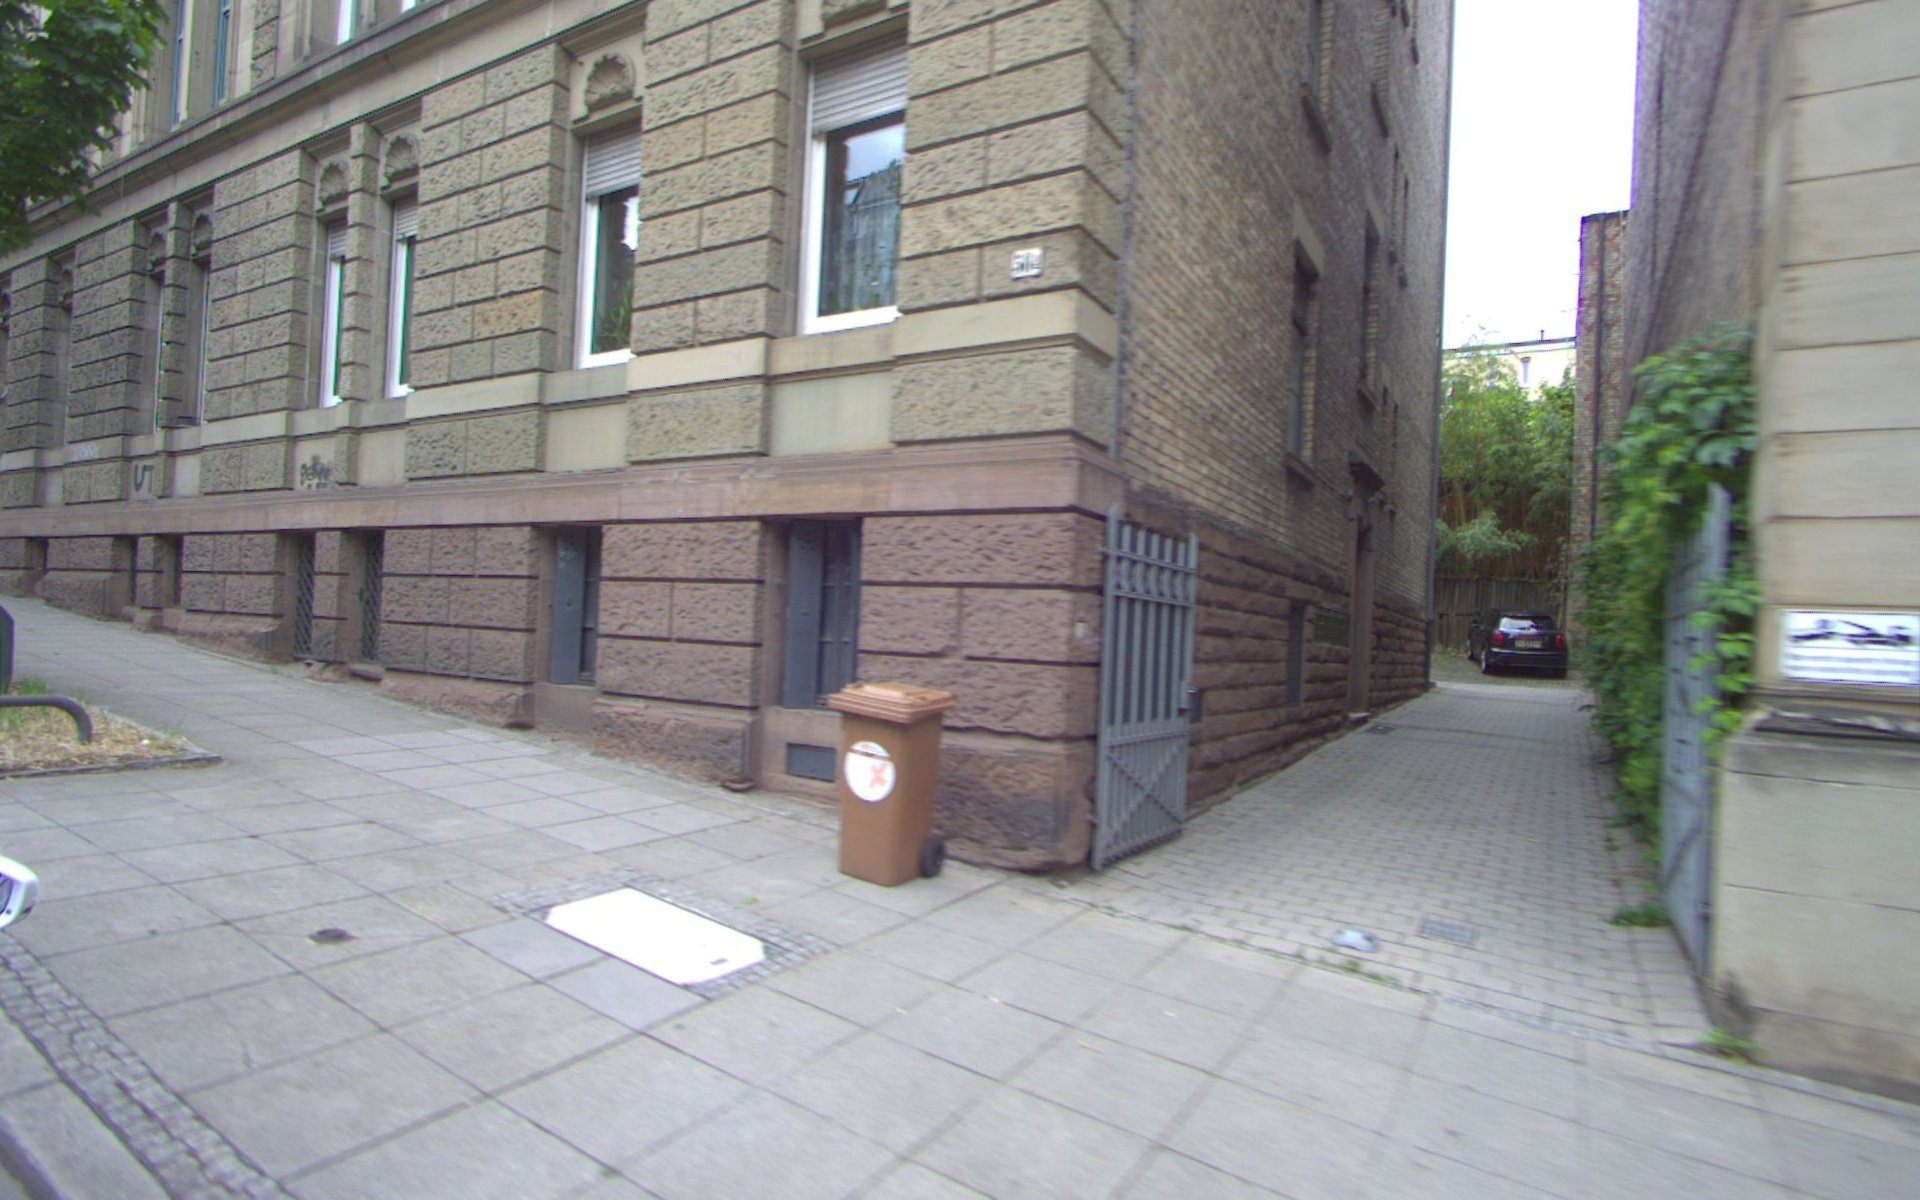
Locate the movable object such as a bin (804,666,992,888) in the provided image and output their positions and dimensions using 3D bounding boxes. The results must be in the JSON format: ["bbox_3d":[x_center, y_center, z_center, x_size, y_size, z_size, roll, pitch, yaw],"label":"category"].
[{"bbox_3d":[-0.292,0.826,4.957,0.572,0.909,0.671,8,3,29],"label":"movable object such as a bin"}]

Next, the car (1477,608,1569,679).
[{"bbox_3d":[13.167,0.959,23.689,1.667,1.475,3.453,2,1,27],"label":"car"}]
